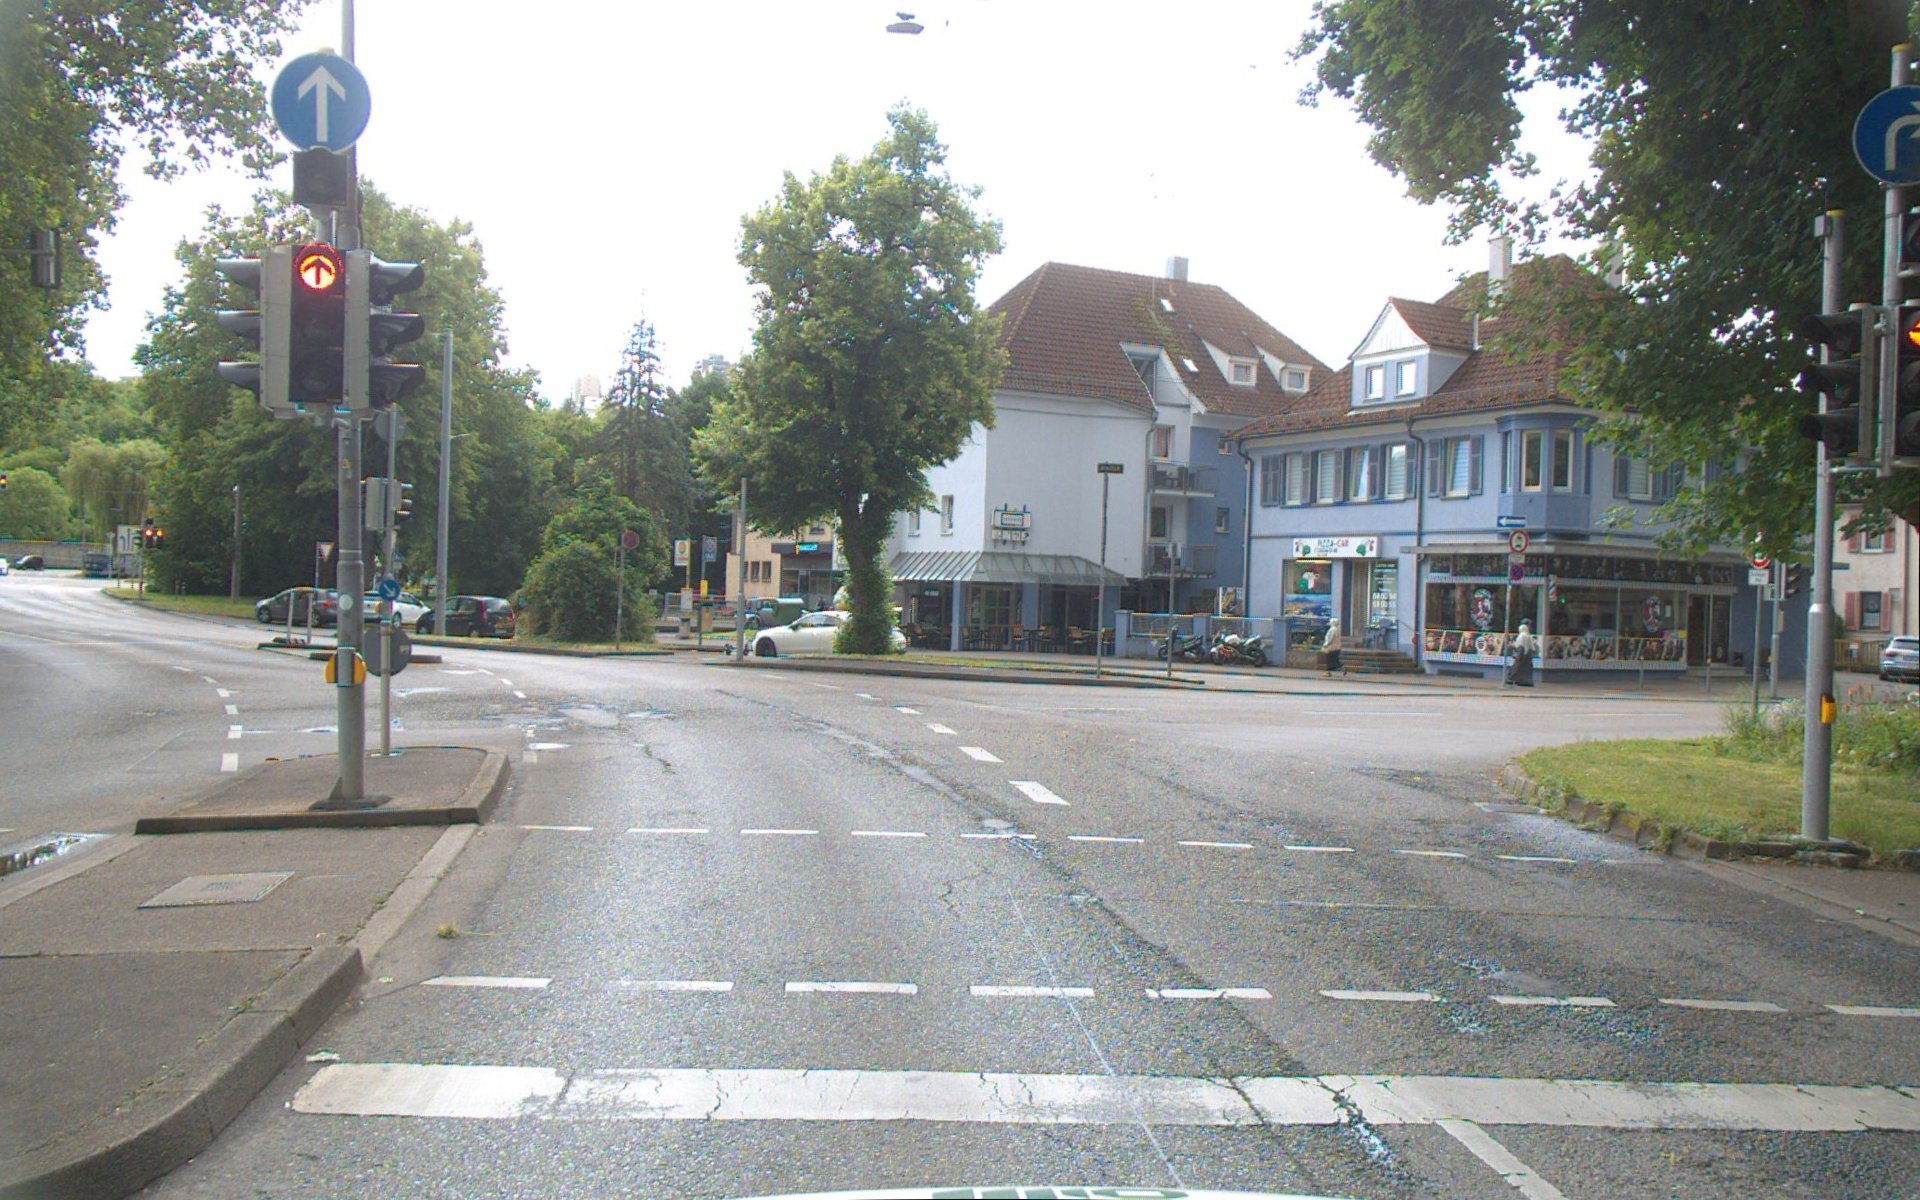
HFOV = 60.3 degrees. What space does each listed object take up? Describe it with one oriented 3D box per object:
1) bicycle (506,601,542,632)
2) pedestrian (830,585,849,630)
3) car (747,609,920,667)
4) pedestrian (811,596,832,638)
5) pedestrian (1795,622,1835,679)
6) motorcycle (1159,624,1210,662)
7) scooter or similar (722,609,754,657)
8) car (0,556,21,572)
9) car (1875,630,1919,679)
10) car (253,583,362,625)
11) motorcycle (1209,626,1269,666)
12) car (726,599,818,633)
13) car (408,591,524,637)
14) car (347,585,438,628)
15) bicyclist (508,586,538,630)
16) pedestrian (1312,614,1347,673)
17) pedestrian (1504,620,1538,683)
[{"bbox_3d":[-16.929,0.638,64.208,0.856,1.169,1.952,1,0,0],"label":"bicycle"},{"bbox_3d":[-4.303,0.273,59.190,0.531,1.587,0.468,0,-1,13],"label":"pedestrian"},{"bbox_3d":[-3.530,1.023,45.684,4.618,1.435,1.896,1,0,35],"label":"car"},{"bbox_3d":[-6.742,0.829,80.629,0.823,2.049,1.052,1,0,-15],"label":"pedestrian"},{"bbox_3d":[23.983,1.409,46.415,0.659,1.587,0.743,1,-1,-15],"label":"pedestrian"},{"bbox_3d":[6.816,1.290,50.211,1.430,1.107,0.522,1,0,35],"label":"motorcycle"},{"bbox_3d":[-5.699,0.831,42.510,0.433,1.195,1.439,1,0,8],"label":"scooter or similar"},{"bbox_3d":[-88.672,-3.318,153.733,2.970,1.442,1.492,0,-2,40],"label":"car"},{"bbox_3d":[29.700,1.690,51.690,1.849,1.415,3.608,1,0,28],"label":"car"},{"bbox_3d":[-25.005,0.156,63.423,3.695,1.491,1.622,1,0,18],"label":"car"},{"bbox_3d":[8.170,1.341,48.461,1.595,1.107,0.625,1,0,32],"label":"motorcycle"},{"bbox_3d":[-8.578,0.737,75.481,3.880,1.467,1.742,1,0,-21],"label":"car"},{"bbox_3d":[-15.912,0.450,53.264,3.252,1.376,1.778,1,0,27],"label":"car"},{"bbox_3d":[-22.730,0.262,66.405,1.821,1.668,3.757,1,0,10],"label":"car"},{"bbox_3d":[-16.938,0.318,64.153,0.896,1.680,0.988,1,0,-1],"label":"bicyclist"},{"bbox_3d":[10.076,1.174,45.057,0.717,1.587,0.767,0,-1,30],"label":"pedestrian"},{"bbox_3d":[14.302,1.308,42.152,0.681,1.587,0.665,0,-1,30],"label":"pedestrian"}]
